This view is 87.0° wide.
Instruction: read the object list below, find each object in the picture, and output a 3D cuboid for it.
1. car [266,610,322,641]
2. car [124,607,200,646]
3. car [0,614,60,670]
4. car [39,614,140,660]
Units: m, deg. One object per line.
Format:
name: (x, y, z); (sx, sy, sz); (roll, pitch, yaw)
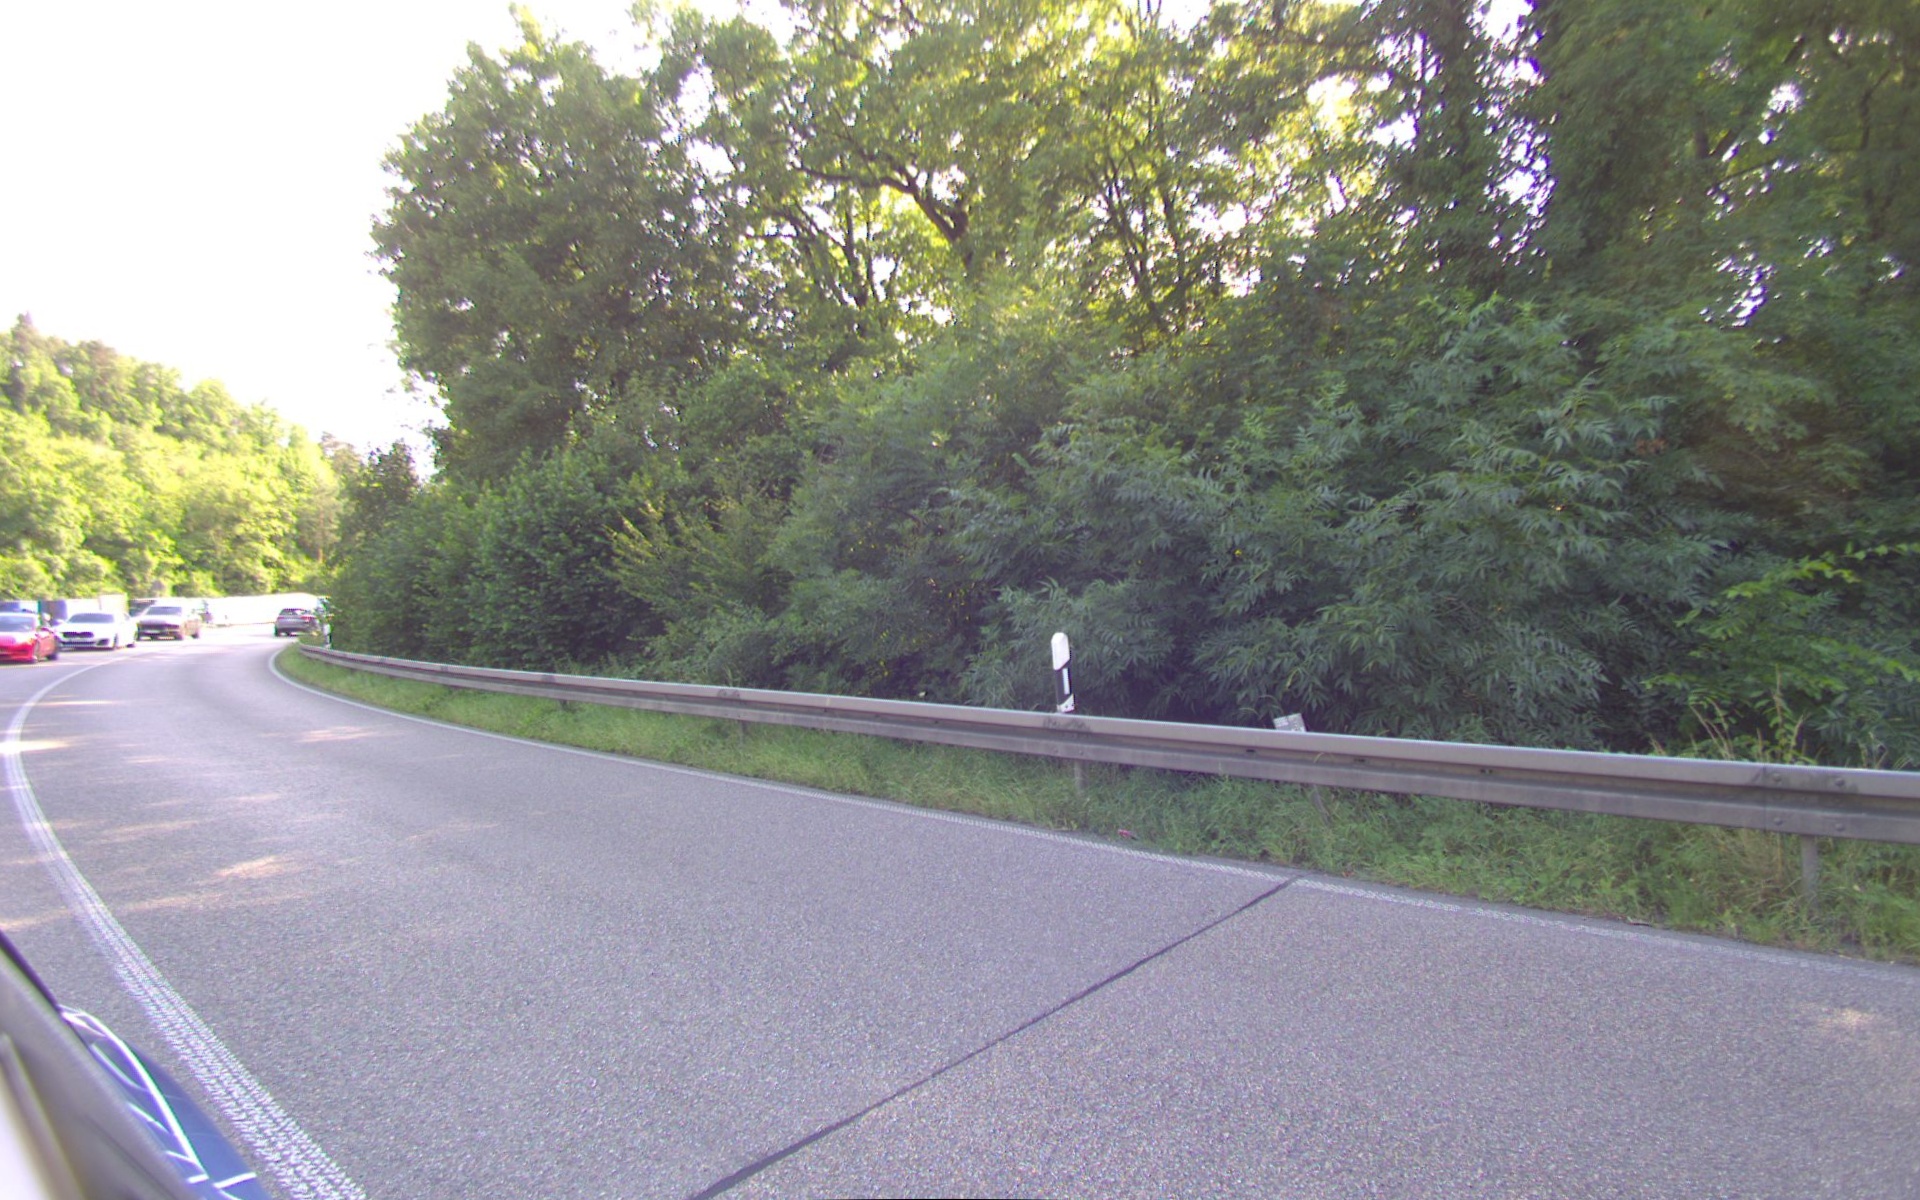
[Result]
car: (-36.647, 1.408, 55.773); (1.841, 1.577, 4.013); (-1, -2, -22)
car: (-37.521, 1.202, 47.691); (1.829, 1.608, 4.552); (-2, 1, -26)
car: (-27.304, 1.175, 28.894); (1.830, 1.431, 4.430); (-3, 1, -35)
car: (-32.476, 1.325, 37.900); (1.884, 1.476, 4.551); (-3, 1, -28)
